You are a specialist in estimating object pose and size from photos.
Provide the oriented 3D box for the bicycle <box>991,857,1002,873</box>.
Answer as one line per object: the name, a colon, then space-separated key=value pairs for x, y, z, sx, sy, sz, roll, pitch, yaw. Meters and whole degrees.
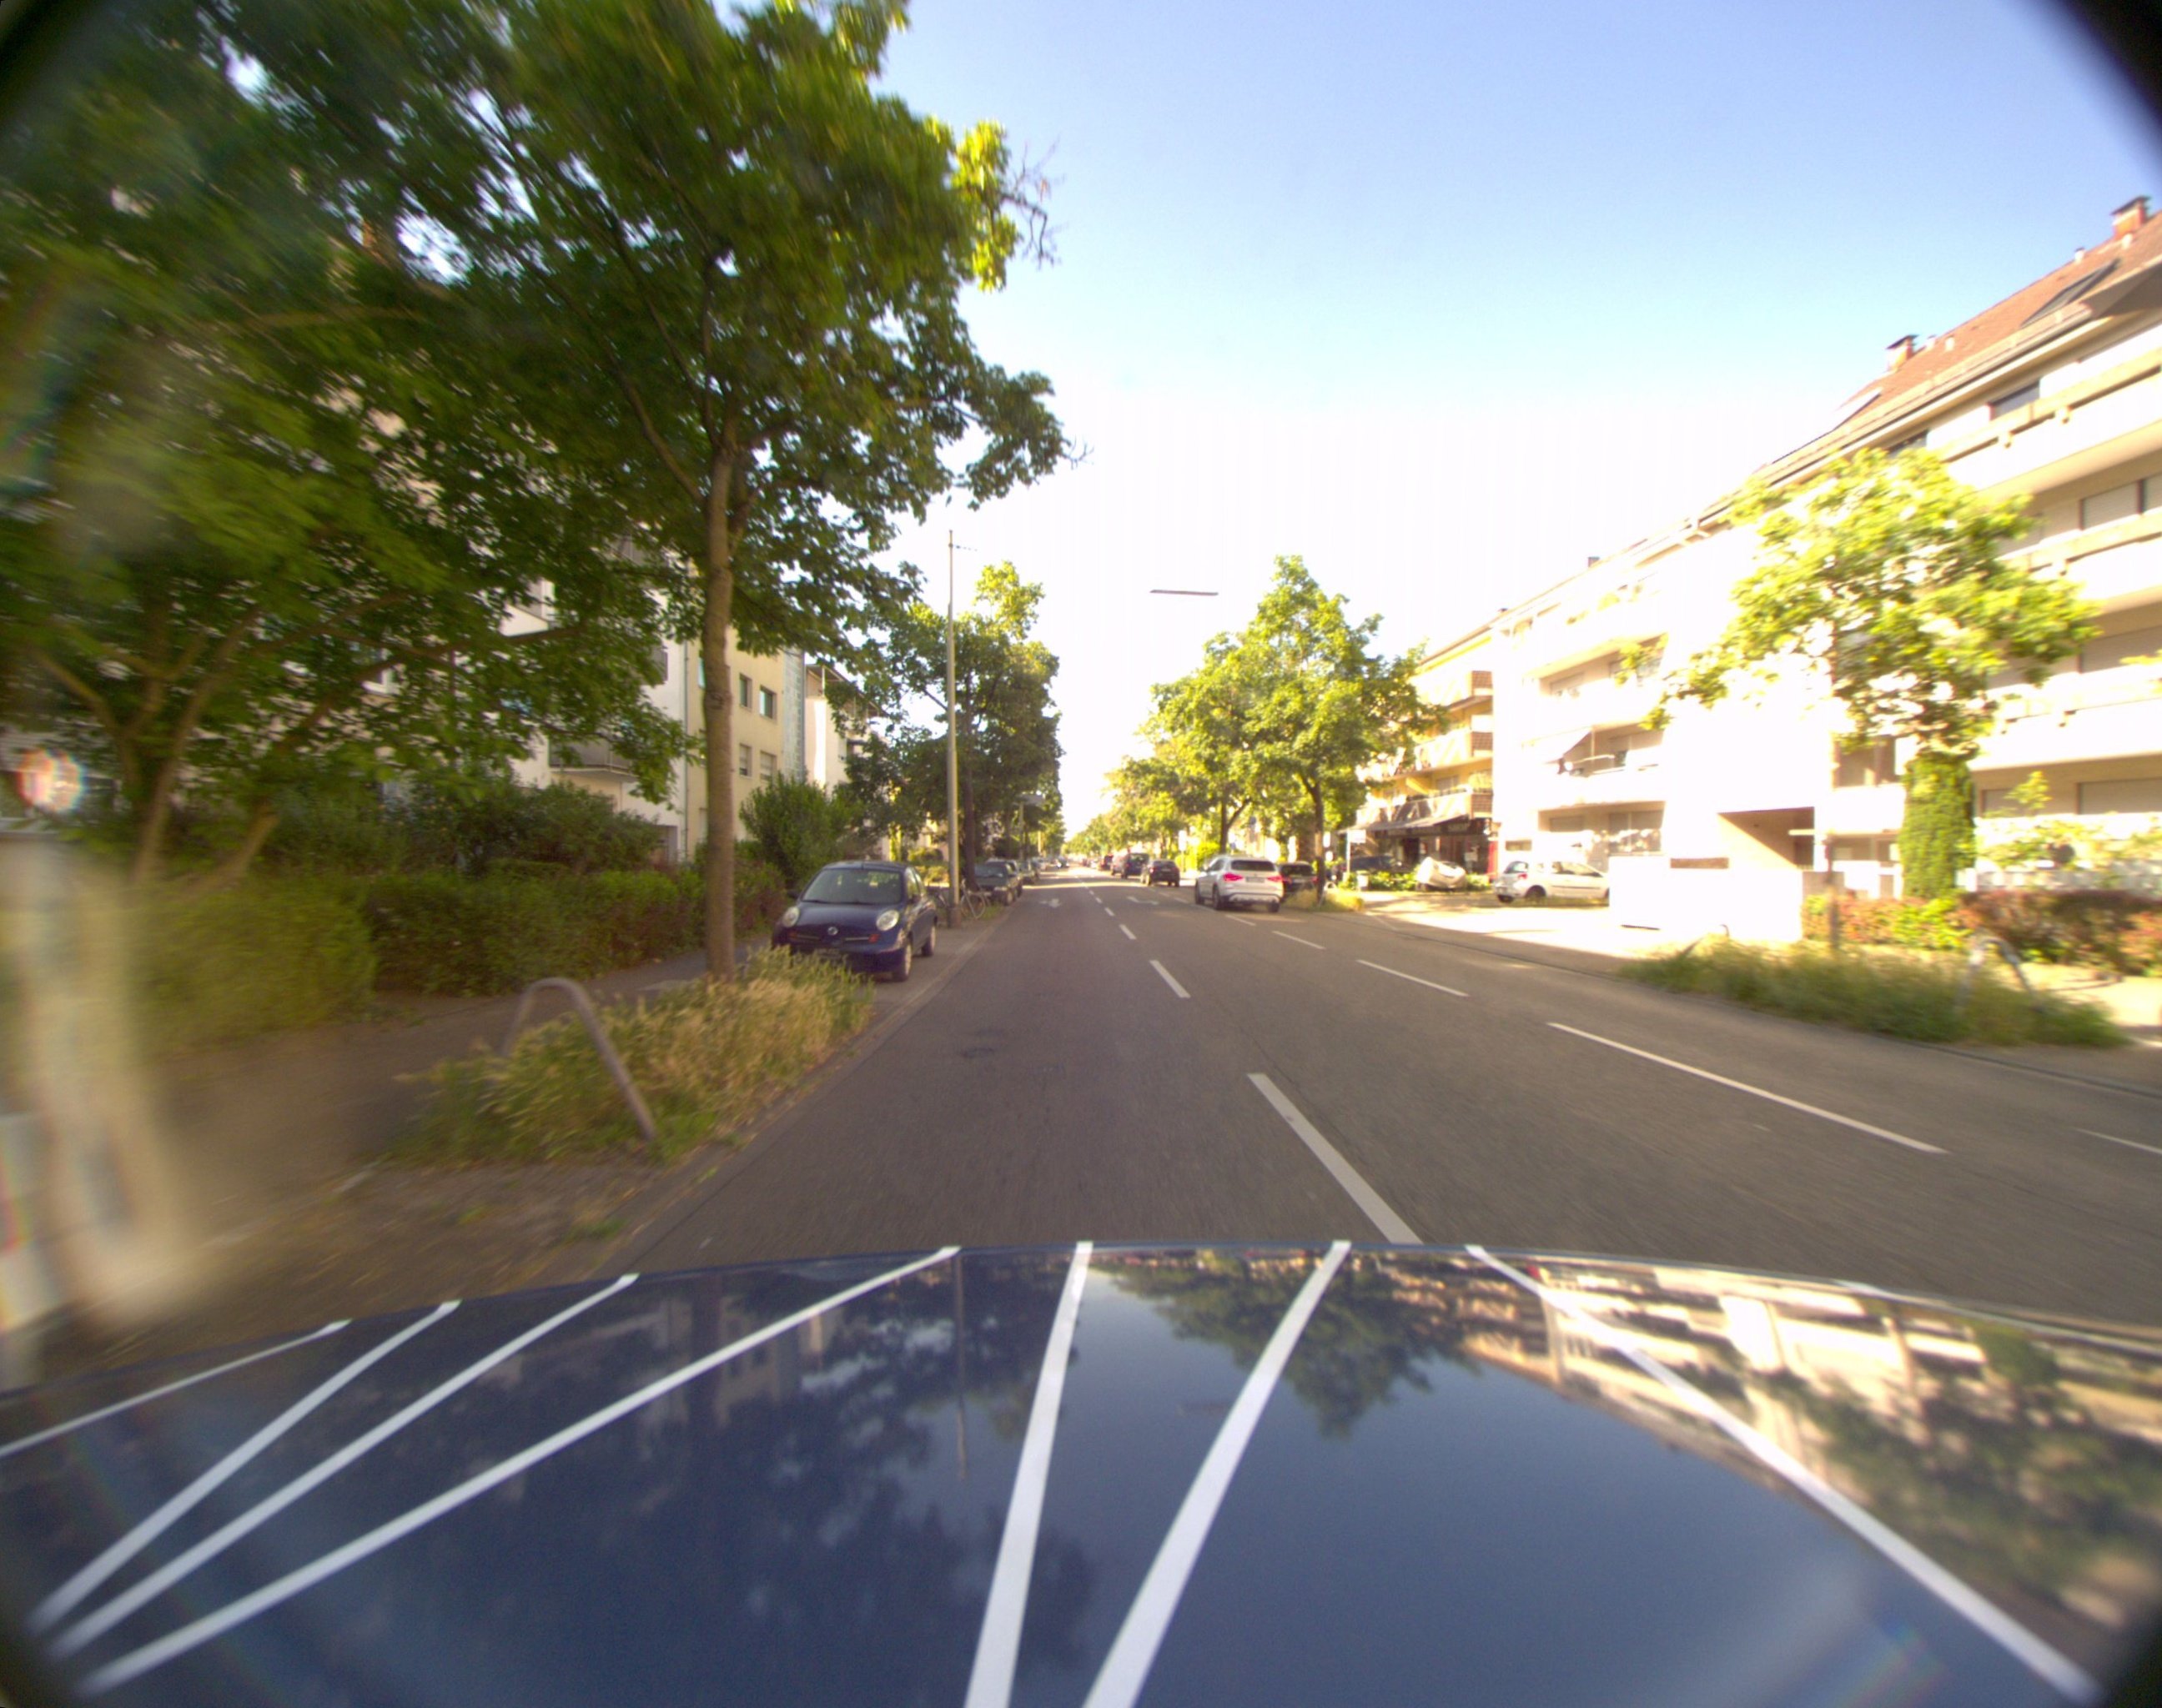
bicycle: x=-6.763 y=0.844 z=60.800 sx=0.700 sy=1.239 sz=1.821 roll=1 pitch=0 yaw=-1

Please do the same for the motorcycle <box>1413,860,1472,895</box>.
motorcycle: x=15.546 y=1.017 z=32.693 sx=2.154 sy=1.477 sz=0.782 roll=-1 pitch=0 yaw=7

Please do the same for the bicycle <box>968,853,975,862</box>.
bicycle: x=-12.327 y=0.377 z=85.622 sx=0.456 sy=0.987 sz=1.742 roll=2 pitch=1 yaw=-2

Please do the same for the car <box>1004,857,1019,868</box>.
car: x=-9.111 y=1.046 z=99.789 sx=1.536 sy=1.348 sz=3.717 roll=3 pitch=0 yaw=-2

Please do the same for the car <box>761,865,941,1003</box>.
car: x=-3.028 y=0.971 z=10.726 sx=1.564 sy=1.506 sz=3.653 roll=2 pitch=0 yaw=-3

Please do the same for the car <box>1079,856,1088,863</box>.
car: x=0.464 y=1.218 z=160.391 sx=1.585 sy=1.443 sz=3.743 roll=1 pitch=0 yaw=-4

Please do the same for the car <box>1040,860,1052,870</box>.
car: x=-5.134 y=1.615 z=111.812 sx=1.653 sy=1.395 sz=3.970 roll=2 pitch=0 yaw=-1

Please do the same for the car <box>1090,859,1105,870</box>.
car: x=2.287 y=1.416 z=106.519 sx=1.738 sy=1.404 sz=4.191 roll=3 pitch=0 yaw=-2

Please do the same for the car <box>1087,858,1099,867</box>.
car: x=1.966 y=1.405 z=124.459 sx=1.585 sy=1.443 sz=3.743 roll=1 pitch=0 yaw=-4

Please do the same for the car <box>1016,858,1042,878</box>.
car: x=-3.724 y=0.980 z=55.368 sx=1.590 sy=1.387 sz=4.453 roll=2 pitch=0 yaw=-1

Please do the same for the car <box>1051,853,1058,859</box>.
car: x=-6.600 y=0.527 z=189.763 sx=1.823 sy=1.541 sz=4.304 roll=0 pitch=0 yaw=-1

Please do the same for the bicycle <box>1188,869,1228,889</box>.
bicycle: x=6.779 y=1.336 z=40.572 sx=2.025 sy=1.085 sz=0.463 roll=-1 pitch=0 yaw=21

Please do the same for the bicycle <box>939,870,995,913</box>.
bicycle: x=-3.403 y=1.103 z=22.794 sx=1.671 sy=1.229 sz=0.470 roll=0 pitch=0 yaw=-40

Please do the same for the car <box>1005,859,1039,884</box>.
car: x=-3.438 y=1.001 z=45.109 sx=1.696 sy=1.419 sz=4.147 roll=1 pitch=0 yaw=0

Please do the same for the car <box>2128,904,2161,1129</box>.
car: x=8.160 y=1.065 z=2.997 sx=1.790 sy=1.484 sz=4.492 roll=0 pitch=0 yaw=-3

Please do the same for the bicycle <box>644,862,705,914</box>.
bicycle: x=-10.861 y=0.886 z=20.383 sx=0.624 sy=1.280 sz=1.842 roll=3 pitch=0 yaw=-1

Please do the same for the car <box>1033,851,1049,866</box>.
car: x=-4.670 y=0.505 z=88.064 sx=1.774 sy=1.649 sz=4.340 roll=1 pitch=0 yaw=-3

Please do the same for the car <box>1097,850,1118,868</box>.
car: x=3.020 y=0.605 z=87.287 sx=2.022 sy=1.940 sz=5.177 roll=2 pitch=0 yaw=-2

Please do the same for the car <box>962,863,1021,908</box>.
car: x=-3.046 y=1.043 z=26.407 sx=1.616 sy=1.375 sz=3.975 roll=1 pitch=0 yaw=-1

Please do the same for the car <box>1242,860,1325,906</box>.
car: x=7.430 y=1.000 z=28.306 sx=1.726 sy=1.527 sz=4.679 roll=-1 pitch=0 yaw=-1

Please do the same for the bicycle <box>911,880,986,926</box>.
bicycle: x=-3.305 y=1.211 z=18.998 sx=1.743 sy=1.016 sz=0.524 roll=2 pitch=3 yaw=6

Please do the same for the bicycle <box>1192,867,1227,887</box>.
bicycle: x=7.381 y=1.308 z=43.740 sx=1.932 sy=1.128 sz=0.463 roll=-1 pitch=0 yaw=26

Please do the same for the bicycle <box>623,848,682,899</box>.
bicycle: x=-11.468 y=0.500 z=20.393 sx=0.593 sy=1.280 sz=1.689 roll=3 pitch=0 yaw=-1

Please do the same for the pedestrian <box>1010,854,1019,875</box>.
pedestrian: x=-5.442 y=0.851 z=61.872 sx=0.671 sy=1.672 sz=0.775 roll=1 pitch=0 yaw=-2

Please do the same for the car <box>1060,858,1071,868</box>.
car: x=-2.383 y=1.335 z=115.319 sx=1.654 sy=1.348 sz=4.304 roll=0 pitch=0 yaw=-1

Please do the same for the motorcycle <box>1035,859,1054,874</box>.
motorcycle: x=-3.240 y=1.074 z=67.092 sx=0.701 sy=1.264 sz=2.426 roll=2 pitch=0 yaw=-29

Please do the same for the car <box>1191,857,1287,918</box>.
car: x=4.775 y=0.939 z=23.665 sx=1.811 sy=1.638 sz=4.672 roll=3 pitch=0 yaw=-2

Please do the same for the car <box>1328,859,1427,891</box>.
car: x=13.826 y=0.968 z=35.613 sx=3.995 sy=1.452 sz=1.734 roll=-1 pitch=0 yaw=7

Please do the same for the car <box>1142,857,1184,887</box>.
car: x=4.621 y=0.983 z=43.408 sx=1.724 sy=1.557 sz=4.342 roll=3 pitch=0 yaw=-2

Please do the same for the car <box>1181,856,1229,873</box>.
car: x=10.932 y=0.926 z=66.995 sx=3.918 sy=1.480 sz=1.632 roll=-1 pitch=0 yaw=0

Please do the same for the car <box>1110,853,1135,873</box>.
car: x=3.787 y=0.831 z=69.818 sx=1.820 sy=1.732 sz=4.492 roll=2 pitch=0 yaw=-2

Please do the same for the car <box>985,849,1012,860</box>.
car: x=-13.032 y=0.050 z=120.344 sx=3.998 sy=1.432 sz=1.831 roll=4 pitch=0 yaw=-2

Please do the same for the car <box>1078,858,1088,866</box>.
car: x=0.391 y=1.454 z=145.632 sx=1.585 sy=1.443 sz=3.743 roll=1 pitch=0 yaw=-4

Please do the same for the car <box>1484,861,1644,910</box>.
car: x=15.578 y=0.985 z=24.650 sx=3.998 sy=1.478 sz=1.881 roll=-1 pitch=0 yaw=-2

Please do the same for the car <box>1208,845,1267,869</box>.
car: x=12.422 y=0.226 z=60.359 sx=4.334 sy=1.868 sz=1.876 roll=0 pitch=0 yaw=-25

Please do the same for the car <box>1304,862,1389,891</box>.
car: x=13.398 y=1.132 z=38.552 sx=3.992 sy=1.447 sz=1.735 roll=-1 pitch=0 yaw=17

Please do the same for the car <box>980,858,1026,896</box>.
car: x=-3.247 y=0.940 z=32.305 sx=1.719 sy=1.480 sz=4.233 roll=1 pitch=0 yaw=-3

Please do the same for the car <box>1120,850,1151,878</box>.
car: x=4.069 y=0.729 z=57.097 sx=1.808 sy=1.899 sz=4.711 roll=3 pitch=0 yaw=-2

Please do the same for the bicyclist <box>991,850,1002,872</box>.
bicyclist: x=-6.761 y=0.552 z=60.772 sx=0.726 sy=1.782 sz=1.015 roll=1 pitch=0 yaw=-2
